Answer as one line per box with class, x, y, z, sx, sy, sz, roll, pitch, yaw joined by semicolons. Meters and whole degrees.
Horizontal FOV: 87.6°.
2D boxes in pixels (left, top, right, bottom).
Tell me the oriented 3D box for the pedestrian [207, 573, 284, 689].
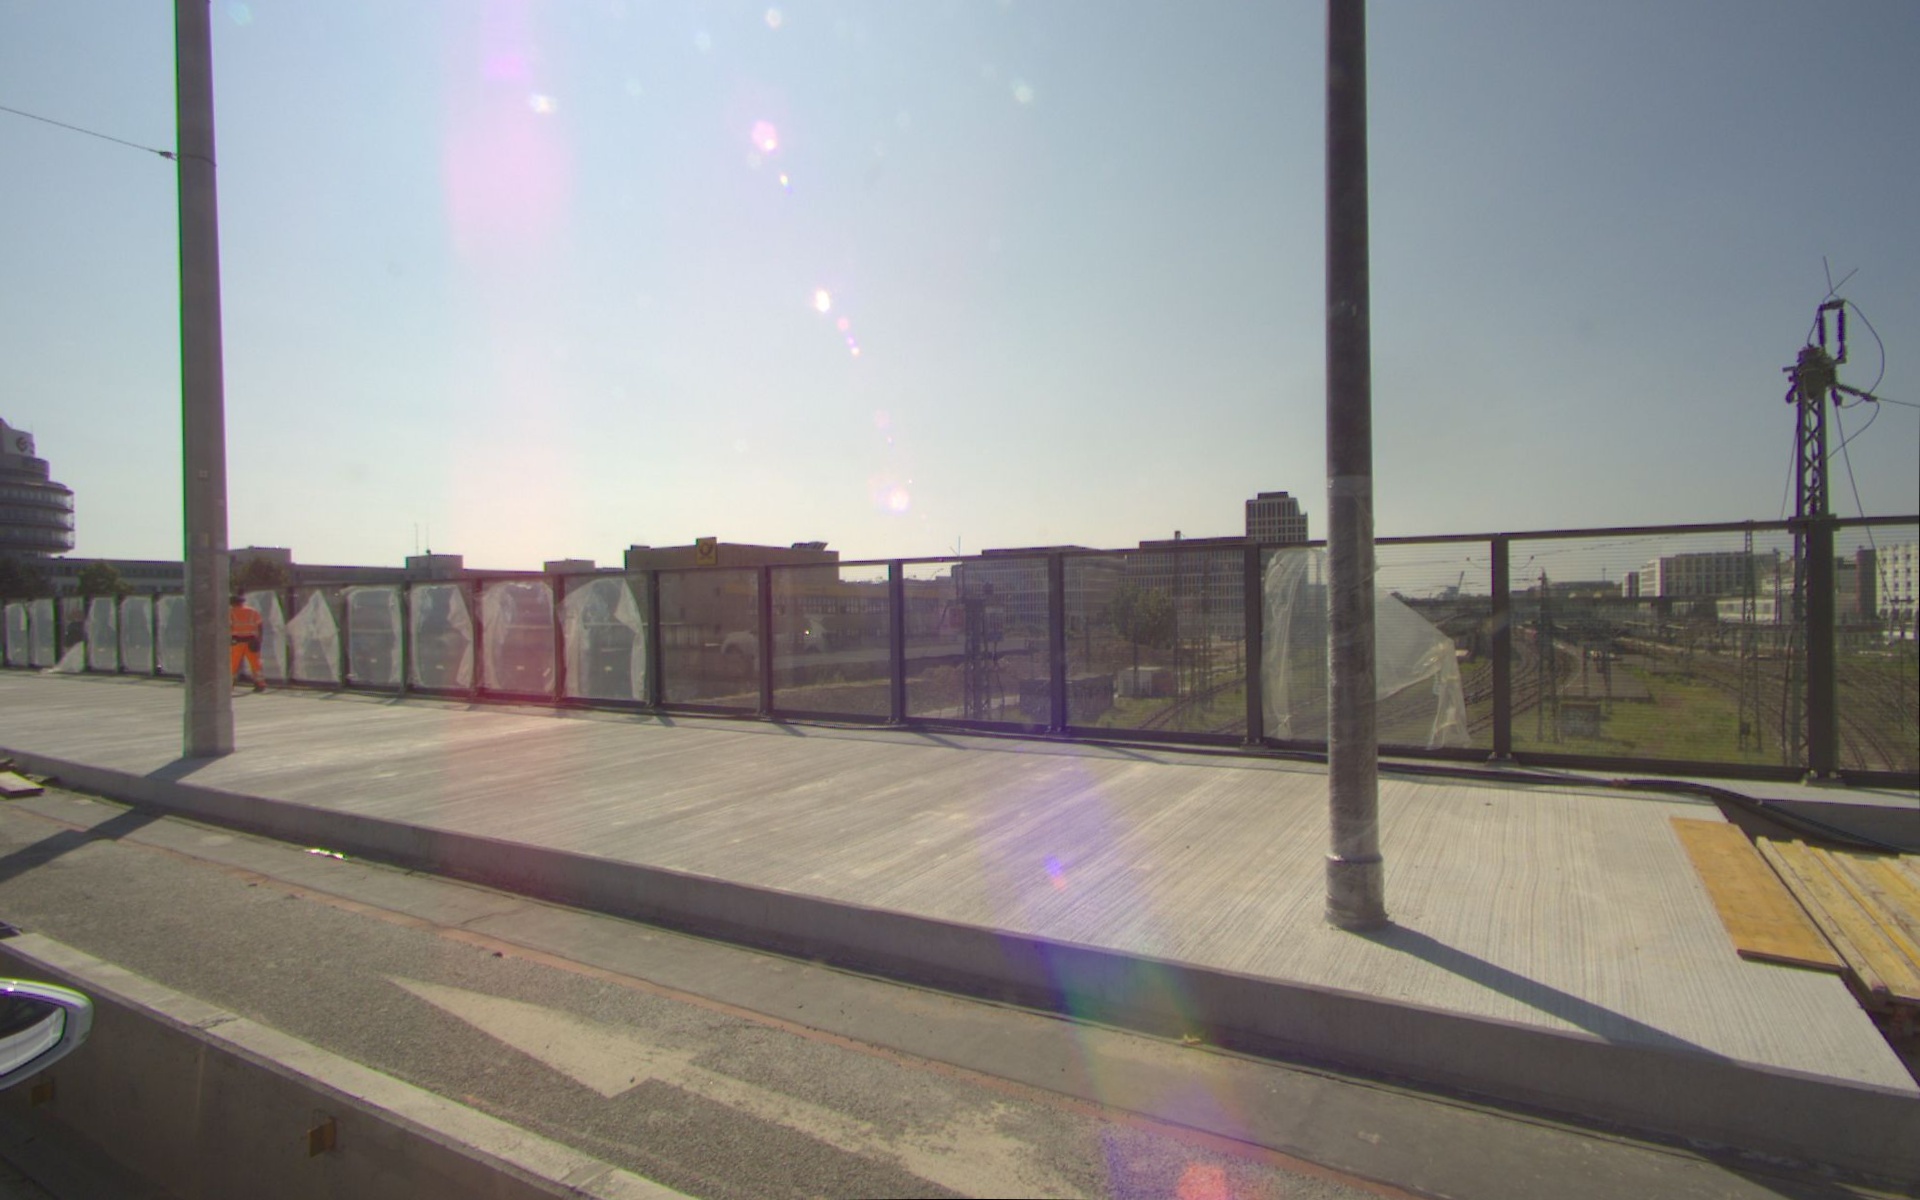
pedestrian;-12.389;0.527;17.369;0.788;1.961;0.780;-1;1;32
